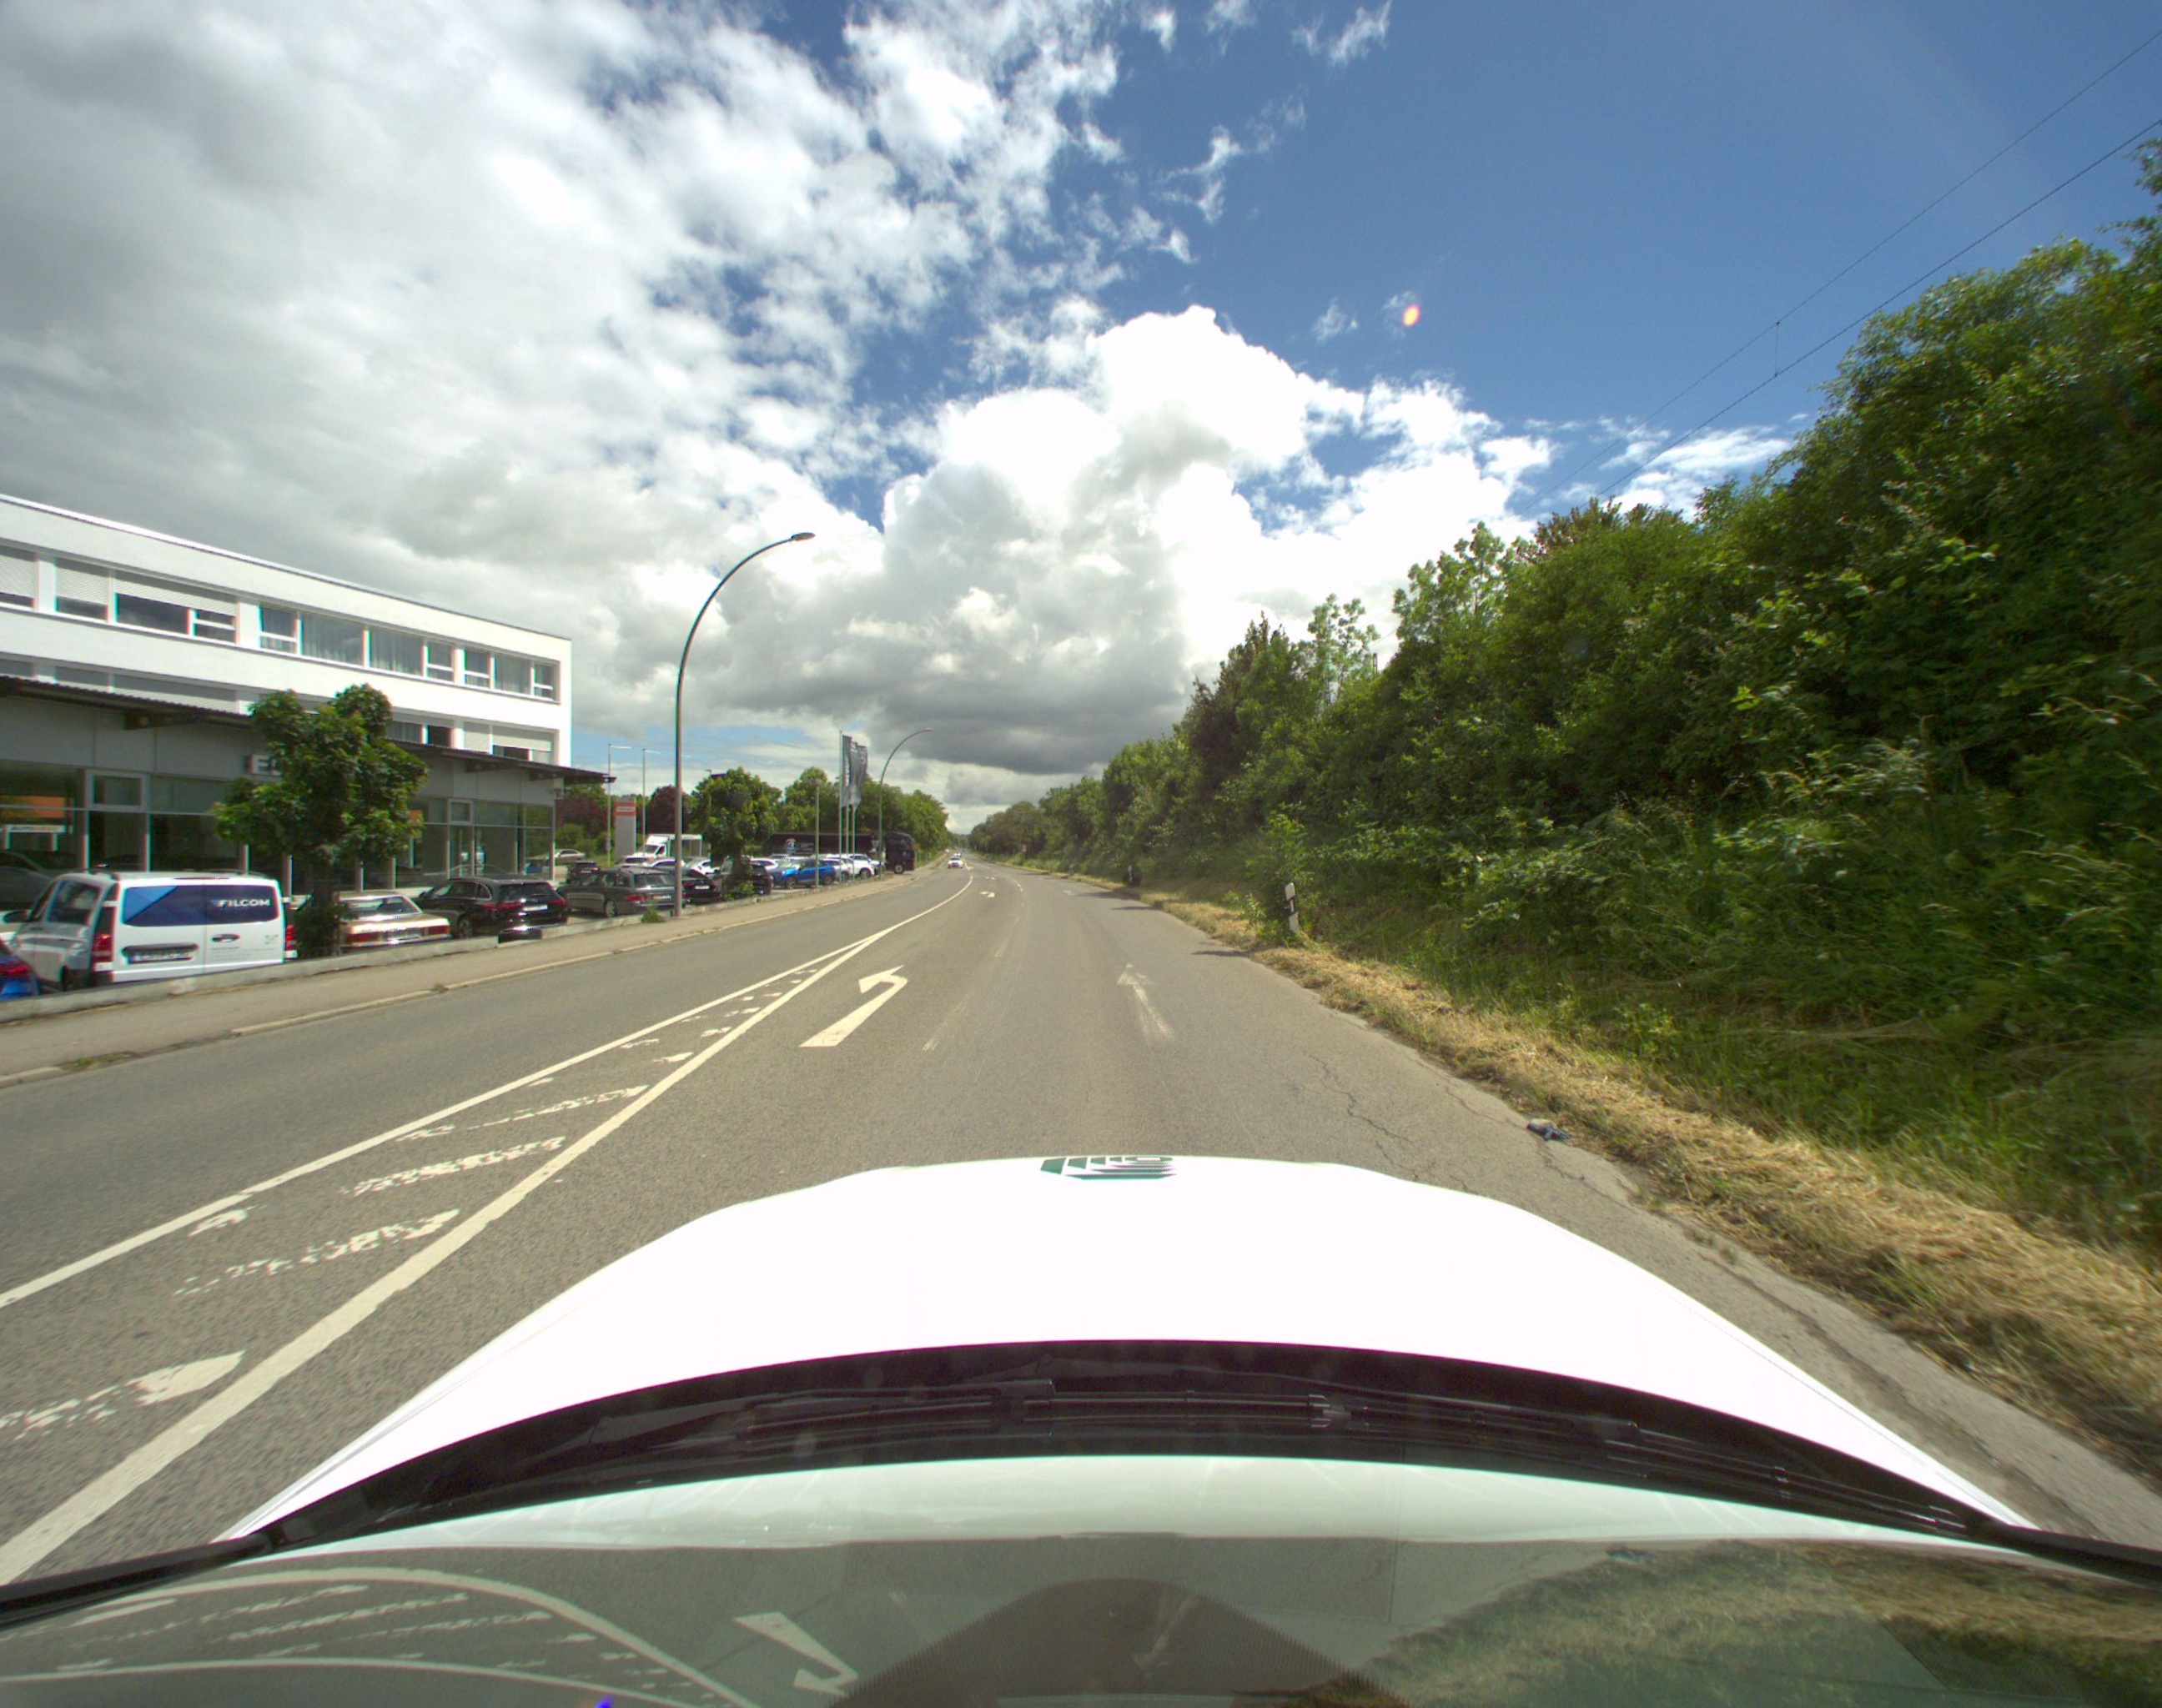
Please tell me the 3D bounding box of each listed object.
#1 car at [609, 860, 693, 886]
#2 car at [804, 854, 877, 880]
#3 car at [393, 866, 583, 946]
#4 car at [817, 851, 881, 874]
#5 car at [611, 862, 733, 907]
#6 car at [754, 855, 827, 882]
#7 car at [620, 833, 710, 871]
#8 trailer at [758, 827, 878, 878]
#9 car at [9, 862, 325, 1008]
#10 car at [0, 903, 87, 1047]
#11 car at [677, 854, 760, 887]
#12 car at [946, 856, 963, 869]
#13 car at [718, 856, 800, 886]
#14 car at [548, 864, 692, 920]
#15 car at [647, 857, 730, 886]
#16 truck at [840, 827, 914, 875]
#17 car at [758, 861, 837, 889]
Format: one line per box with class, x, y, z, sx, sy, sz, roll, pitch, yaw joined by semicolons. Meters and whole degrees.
car;-25.878;1.111;49.143;1.974;1.455;4.025;0;0;30
car;-16.407;0.865;55.593;4.333;1.763;1.978;0;0;-36
car;-13.714;1.105;18.809;4.151;1.601;1.993;0;0;29
car;-17.774;0.646;62.547;4.333;1.763;1.978;0;0;-36
car;-13.913;0.987;27.647;4.151;1.401;1.670;0;0;29
car;-18.213;0.898;51.241;1.974;1.653;4.025;0;0;30
car;-38.235;-0.134;75.320;3.182;3.336;8.201;0;0;8
trailer;-23.021;-0.173;71.437;9.759;4.093;2.805;-2;0;-22
car;-13.007;0.979;11.587;3.936;1.701;2.187;0;0;29
car;-13.261;1.336;9.149;4.151;1.350;1.949;0;0;29
car;-21.054;0.931;47.450;1.974;1.830;4.025;0;0;30
car;-15.727;1.052;101.433;1.992;1.537;3.989;0;0;-8
car;-18.381;0.935;46.666;1.974;1.631;4.025;0;0;30
car;-13.595;1.049;23.981;4.151;1.479;1.806;0;0;29
car;-23.339;1.022;48.599;1.974;1.644;4.025;0;0;30
truck;-18.365;-0.282;73.208;6.139;4.093;2.807;-2;0;-20
car;-15.609;1.117;45.068;1.609;1.475;4.025;0;0;30
